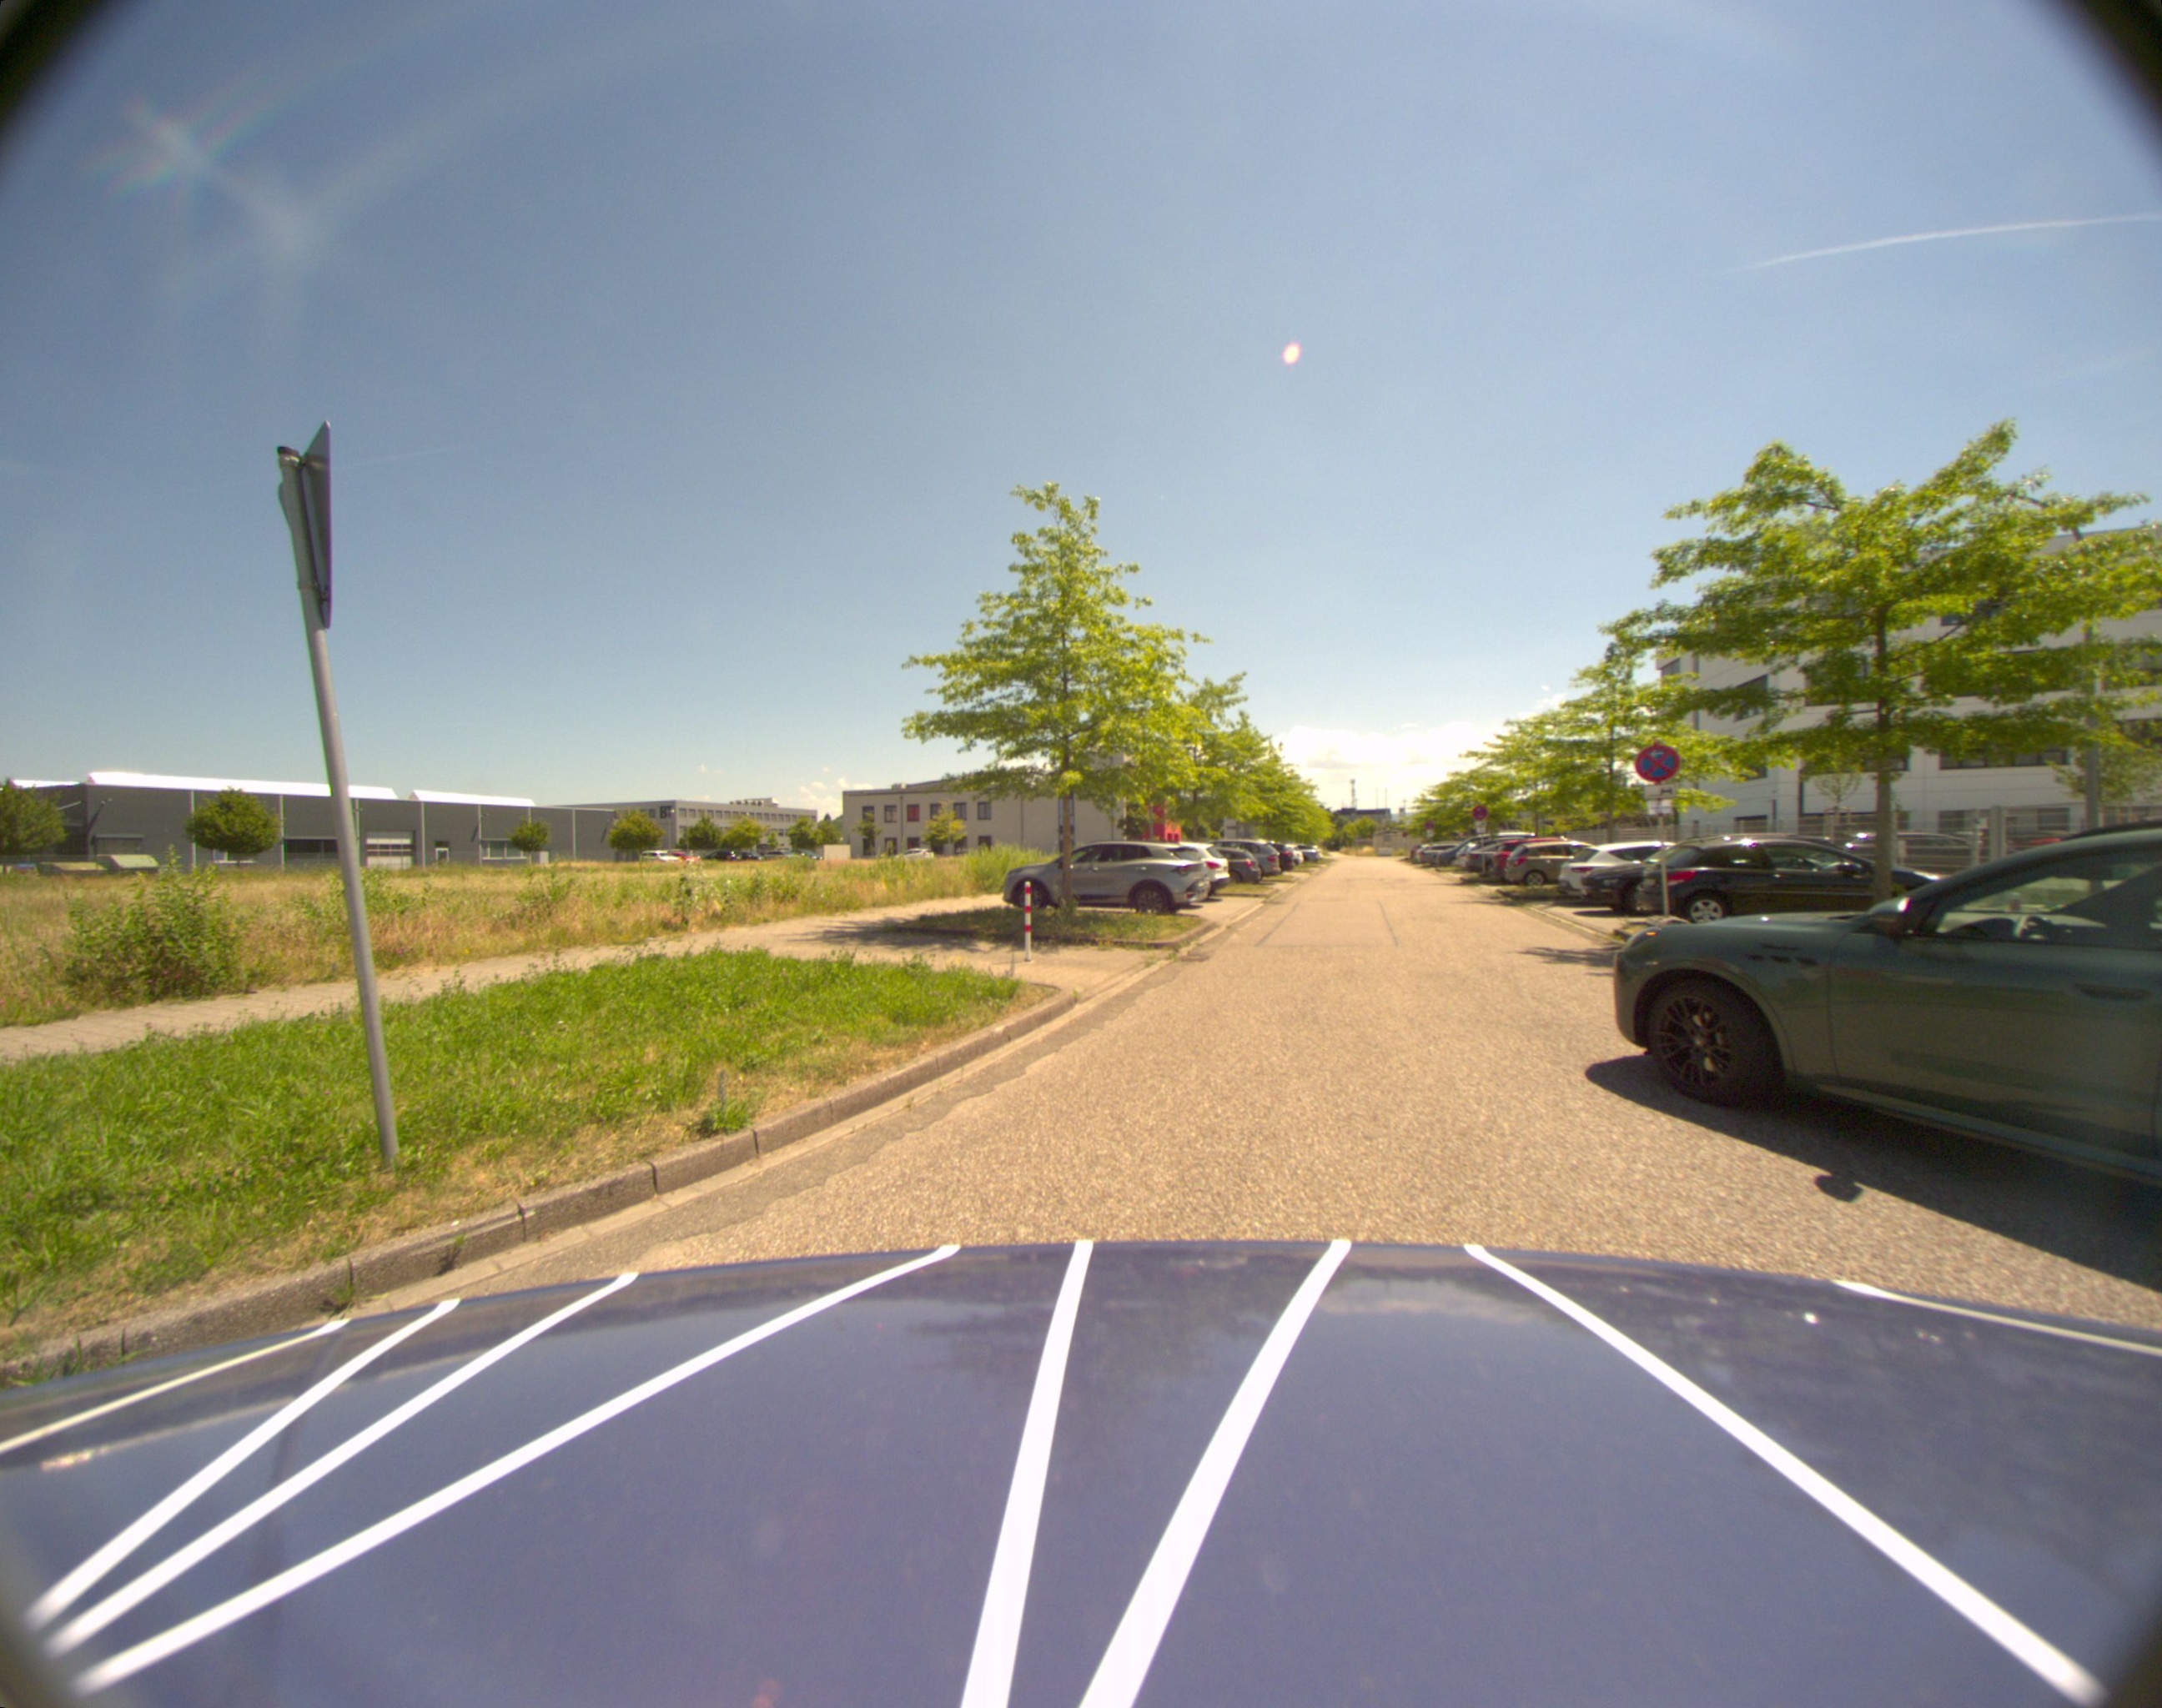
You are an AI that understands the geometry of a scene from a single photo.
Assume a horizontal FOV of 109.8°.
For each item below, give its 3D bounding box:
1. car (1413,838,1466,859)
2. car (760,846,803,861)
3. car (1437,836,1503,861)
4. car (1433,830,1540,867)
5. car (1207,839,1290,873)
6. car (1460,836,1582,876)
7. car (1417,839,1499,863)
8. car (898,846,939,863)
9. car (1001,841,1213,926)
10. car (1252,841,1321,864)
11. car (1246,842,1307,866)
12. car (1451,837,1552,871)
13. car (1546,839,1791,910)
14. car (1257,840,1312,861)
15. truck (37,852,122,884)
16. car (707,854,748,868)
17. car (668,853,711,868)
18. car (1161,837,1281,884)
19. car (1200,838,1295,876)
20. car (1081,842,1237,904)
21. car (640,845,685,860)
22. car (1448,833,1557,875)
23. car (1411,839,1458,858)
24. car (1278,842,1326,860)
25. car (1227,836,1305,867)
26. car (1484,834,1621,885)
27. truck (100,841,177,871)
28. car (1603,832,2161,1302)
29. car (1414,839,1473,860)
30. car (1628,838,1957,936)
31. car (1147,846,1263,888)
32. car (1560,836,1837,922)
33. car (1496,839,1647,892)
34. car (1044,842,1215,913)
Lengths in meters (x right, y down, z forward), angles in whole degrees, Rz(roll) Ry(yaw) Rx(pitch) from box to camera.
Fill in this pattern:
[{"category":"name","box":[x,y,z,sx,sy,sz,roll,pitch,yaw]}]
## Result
[{"category":"car","box":[30.621,-0.477,65.049,3.843,1.582,1.730,-3,0,18]},{"category":"car","box":[-31.148,-0.045,79.033,3.991,1.501,1.721,0,1,19]},{"category":"car","box":[28.598,-0.403,56.010,4.122,1.625,1.730,-3,0,22]},{"category":"car","box":[22.715,-0.282,42.795,5.075,1.880,2.000,-2,0,21]},{"category":"car","box":[8.561,0.074,38.730,3.879,1.668,1.784,1,2,20]},{"category":"car","box":[18.612,0.100,32.352,4.198,1.471,1.715,-3,0,20]},{"category":"car","box":[25.639,-0.199,51.840,4.718,1.439,1.860,-3,0,19]},{"category":"car","box":[-15.148,0.062,70.987,3.326,1.501,1.721,0,1,20]},{"category":"car","box":[0.580,0.562,16.722,4.283,1.635,1.853,1,2,20]},{"category":"car","box":[14.926,-0.113,55.283,4.721,1.552,1.916,1,1,16]},{"category":"car","box":[12.707,-0.022,49.455,3.634,1.495,1.678,1,2,21]},{"category":"car","box":[20.451,0.006,37.129,4.042,1.452,1.606,-3,0,17]},{"category":"car","box":[13.440,0.463,17.687,4.081,1.415,1.876,-3,0,16]},{"category":"car","box":[16.256,-0.307,60.569,4.050,1.616,1.695,1,2,21]},{"category":"truck","box":[-64.089,0.866,48.611,4.347,2.002,2.003,0,1,19]},{"category":"car","box":[-39.390,0.726,84.652,3.991,1.501,1.721,0,1,20]},{"category":"car","box":[-41.082,0.667,79.657,3.991,1.501,1.721,0,1,20]},{"category":"car","box":[5.614,0.215,30.319,4.454,1.758,1.995,1,1,18]},{"category":"car","box":[7.905,0.114,35.947,4.177,1.687,1.784,1,2,19]},{"category":"car","box":[2.235,0.479,21.662,4.072,1.599,1.903,0,2,20]},{"category":"car","box":[-42.683,-0.173,77.493,3.991,1.444,1.721,0,1,20]},{"category":"car","box":[19.325,0.010,35.011,3.993,1.669,1.779,-3,0,15]},{"category":"car","box":[33.046,-0.548,71.094,3.910,1.582,1.730,-3,0,24]},{"category":"car","box":[19.401,-0.273,66.673,3.837,1.544,1.782,0,0,25]},{"category":"car","box":[11.440,-0.188,46.981,4.407,1.819,1.798,1,2,21]},{"category":"car","box":[16.369,0.194,26.606,3.741,1.612,1.819,-2,0,21]},{"category":"truck","box":[-63.606,0.133,51.268,3.991,2.002,2.003,0,1,19]},{"category":"car","box":[4.880,0.788,2.924,1.959,1.697,4.505,1,1,-15]},{"category":"car","box":[29.765,-0.327,62.502,4.176,1.504,1.810,-3,-1,21]},{"category":"car","box":[11.648,0.542,12.766,3.629,1.427,1.728,-3,1,20]},{"category":"car","box":[4.576,0.435,27.942,3.926,1.402,1.911,0,3,20]},{"category":"car","box":[12.208,0.491,15.343,3.932,1.512,1.787,-3,1,19]},{"category":"car","box":[15.493,0.359,24.204,3.661,1.500,1.733,-2,0,16]},{"category":"car","box":[1.249,0.532,19.335,3.991,1.635,1.840,0,2,19]}]
